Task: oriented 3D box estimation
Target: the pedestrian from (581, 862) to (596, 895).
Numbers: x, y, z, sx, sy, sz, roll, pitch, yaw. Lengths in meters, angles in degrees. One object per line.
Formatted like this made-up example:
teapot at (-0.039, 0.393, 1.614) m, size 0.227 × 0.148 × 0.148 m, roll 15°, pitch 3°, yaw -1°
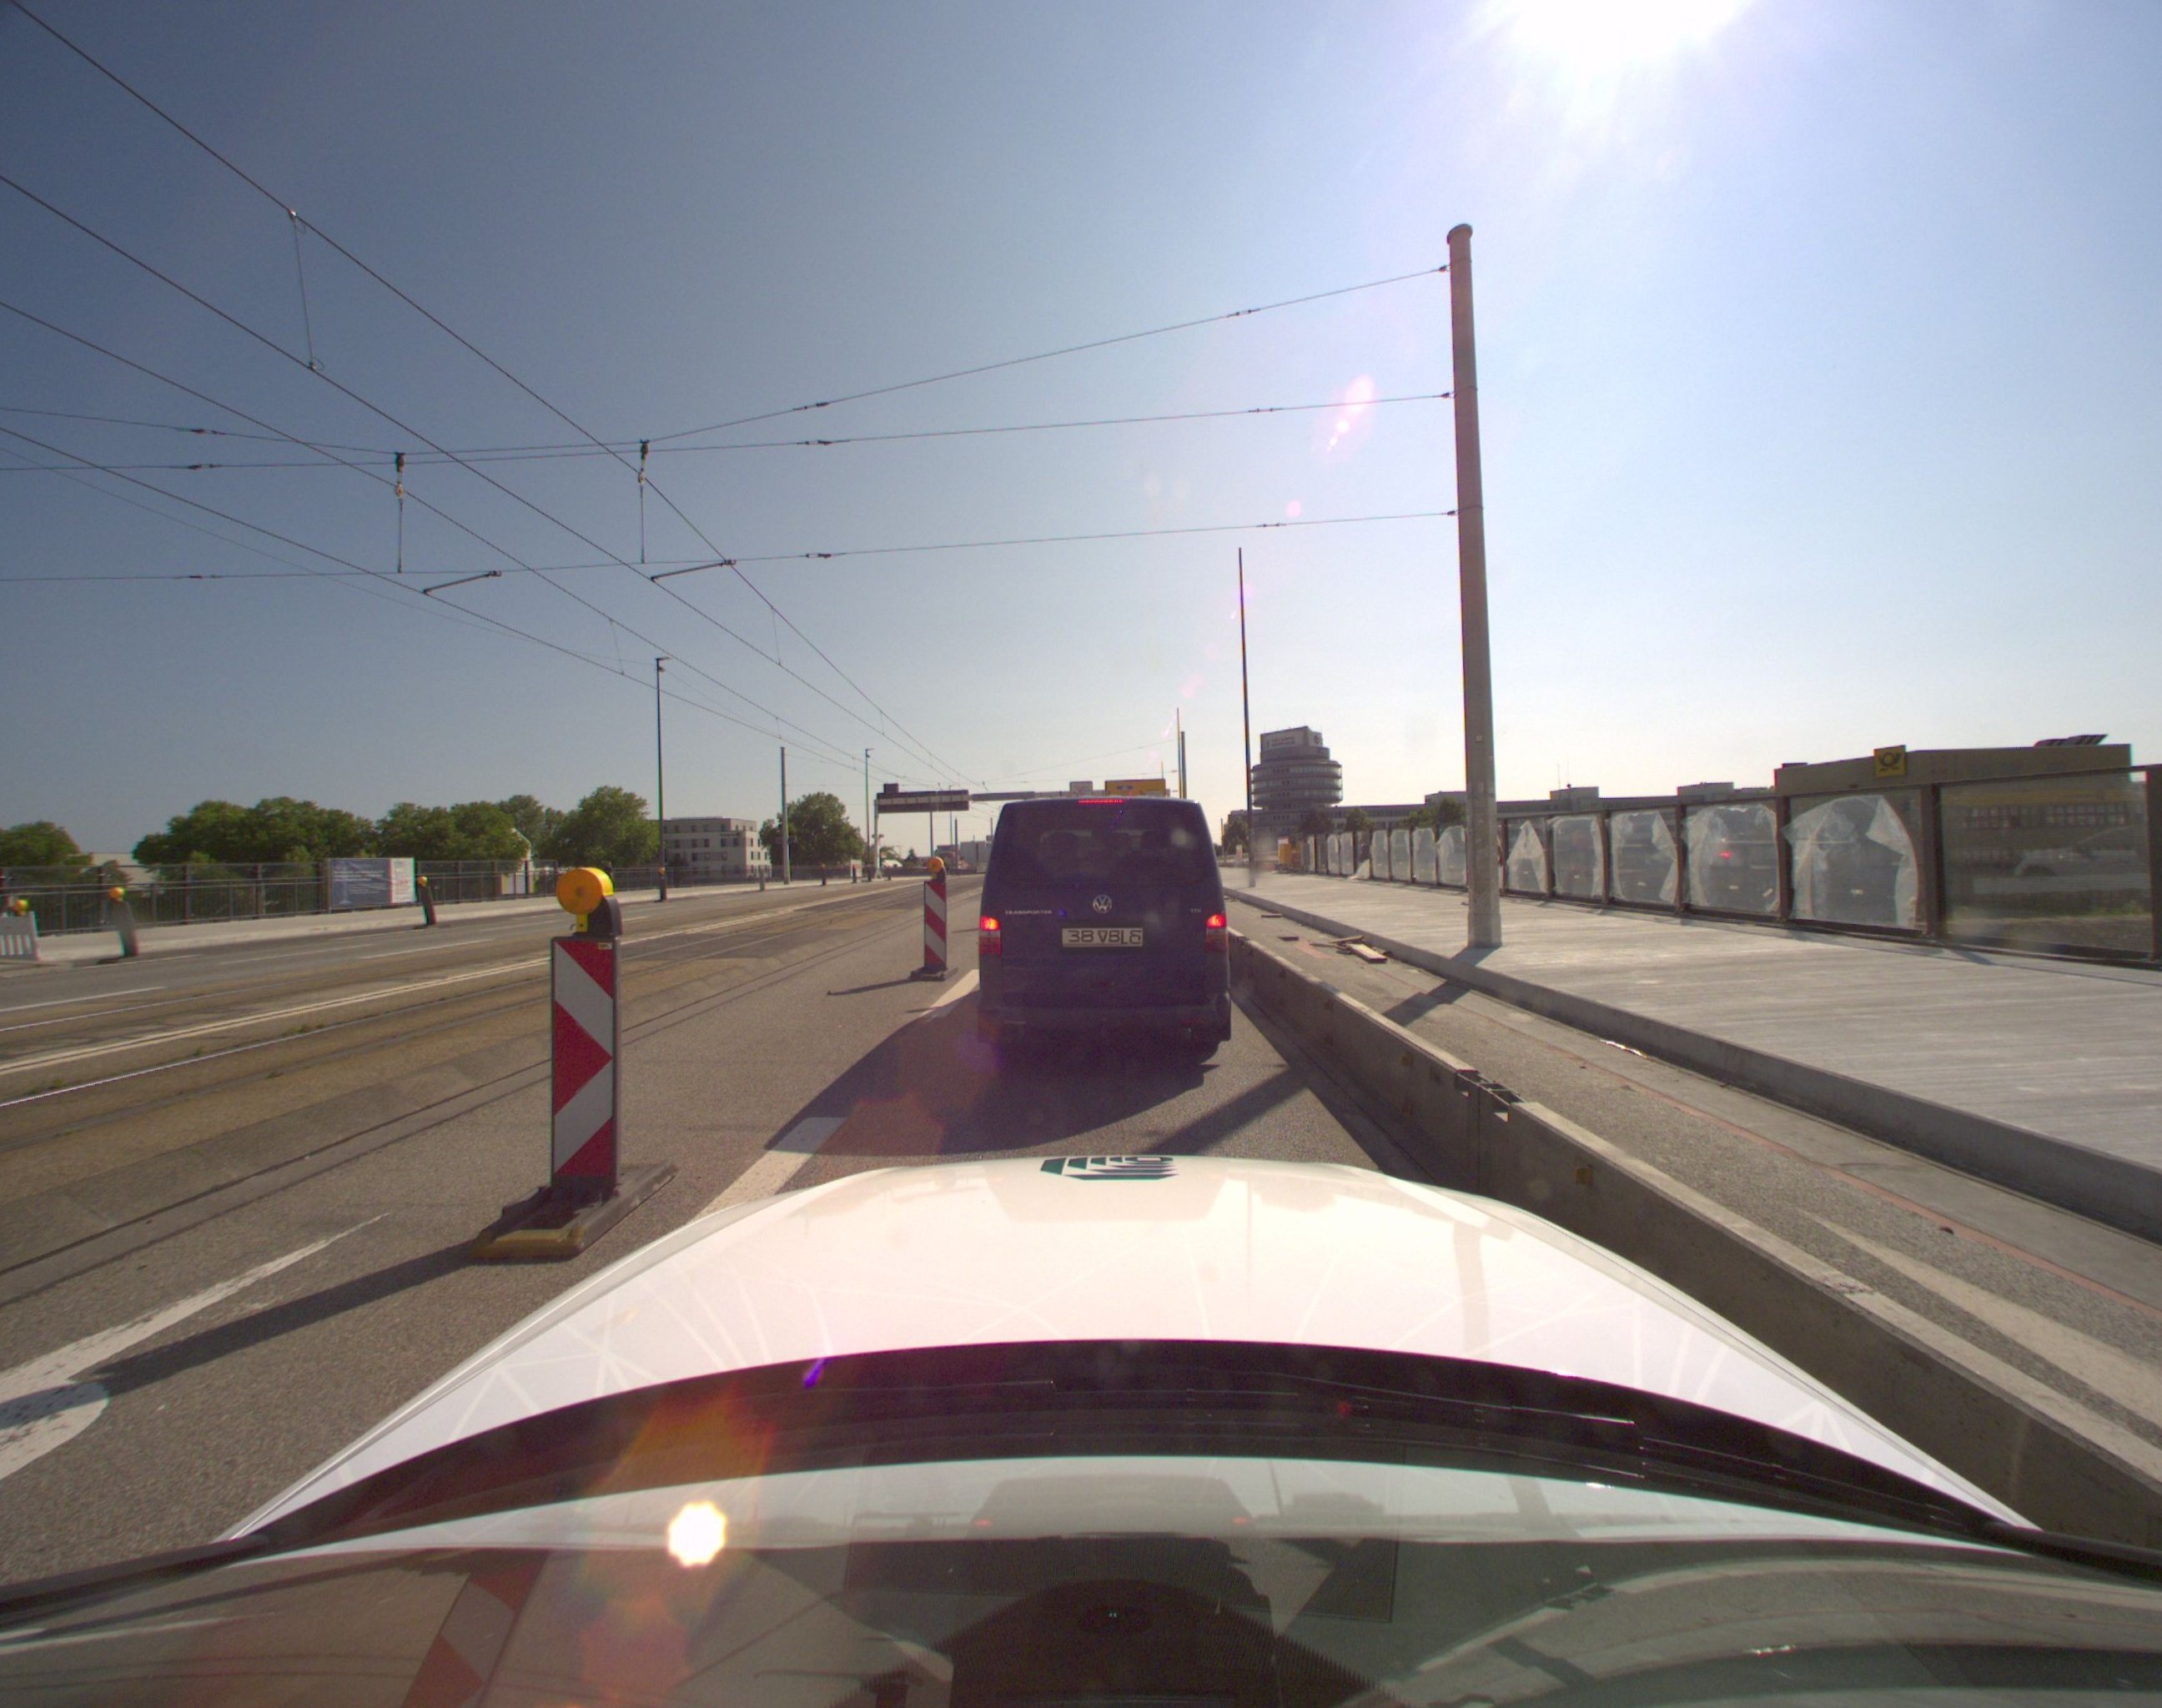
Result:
pedestrian at (-25.421, 1.267, 42.016) m, size 0.493 × 1.694 × 0.474 m, roll 0°, pitch -1°, yaw 1°

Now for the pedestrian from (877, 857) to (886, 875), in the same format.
pedestrian at (-20.652, 1.221, 84.351) m, size 0.631 × 1.893 × 0.752 m, roll -1°, pitch 0°, yaw 1°

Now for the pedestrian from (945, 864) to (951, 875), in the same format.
pedestrian at (-19.584, 2.243, 119.789) m, size 0.631 × 1.598 × 0.752 m, roll -1°, pitch 0°, yaw 1°

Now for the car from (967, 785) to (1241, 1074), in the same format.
car at (0.171, 0.503, 7.539) m, size 1.810 × 1.905 × 4.054 m, roll -1°, pitch 0°, yaw 0°

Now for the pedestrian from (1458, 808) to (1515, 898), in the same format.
pedestrian at (9.021, -0.017, 18.151) m, size 0.779 × 1.935 × 0.800 m, roll -3°, pitch -1°, yaw 1°

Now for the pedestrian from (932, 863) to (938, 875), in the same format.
pedestrian at (-21.004, 2.162, 117.001) m, size 0.632 × 1.752 × 0.752 m, roll -1°, pitch 0°, yaw 1°

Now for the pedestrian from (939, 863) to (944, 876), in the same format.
pedestrian at (-20.095, 2.196, 117.211) m, size 0.631 × 1.774 × 0.752 m, roll -1°, pitch 0°, yaw 1°

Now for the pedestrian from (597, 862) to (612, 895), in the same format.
pedestrian at (-24.486, 1.248, 41.858) m, size 0.493 × 1.694 × 0.474 m, roll 0°, pitch -1°, yaw 1°
